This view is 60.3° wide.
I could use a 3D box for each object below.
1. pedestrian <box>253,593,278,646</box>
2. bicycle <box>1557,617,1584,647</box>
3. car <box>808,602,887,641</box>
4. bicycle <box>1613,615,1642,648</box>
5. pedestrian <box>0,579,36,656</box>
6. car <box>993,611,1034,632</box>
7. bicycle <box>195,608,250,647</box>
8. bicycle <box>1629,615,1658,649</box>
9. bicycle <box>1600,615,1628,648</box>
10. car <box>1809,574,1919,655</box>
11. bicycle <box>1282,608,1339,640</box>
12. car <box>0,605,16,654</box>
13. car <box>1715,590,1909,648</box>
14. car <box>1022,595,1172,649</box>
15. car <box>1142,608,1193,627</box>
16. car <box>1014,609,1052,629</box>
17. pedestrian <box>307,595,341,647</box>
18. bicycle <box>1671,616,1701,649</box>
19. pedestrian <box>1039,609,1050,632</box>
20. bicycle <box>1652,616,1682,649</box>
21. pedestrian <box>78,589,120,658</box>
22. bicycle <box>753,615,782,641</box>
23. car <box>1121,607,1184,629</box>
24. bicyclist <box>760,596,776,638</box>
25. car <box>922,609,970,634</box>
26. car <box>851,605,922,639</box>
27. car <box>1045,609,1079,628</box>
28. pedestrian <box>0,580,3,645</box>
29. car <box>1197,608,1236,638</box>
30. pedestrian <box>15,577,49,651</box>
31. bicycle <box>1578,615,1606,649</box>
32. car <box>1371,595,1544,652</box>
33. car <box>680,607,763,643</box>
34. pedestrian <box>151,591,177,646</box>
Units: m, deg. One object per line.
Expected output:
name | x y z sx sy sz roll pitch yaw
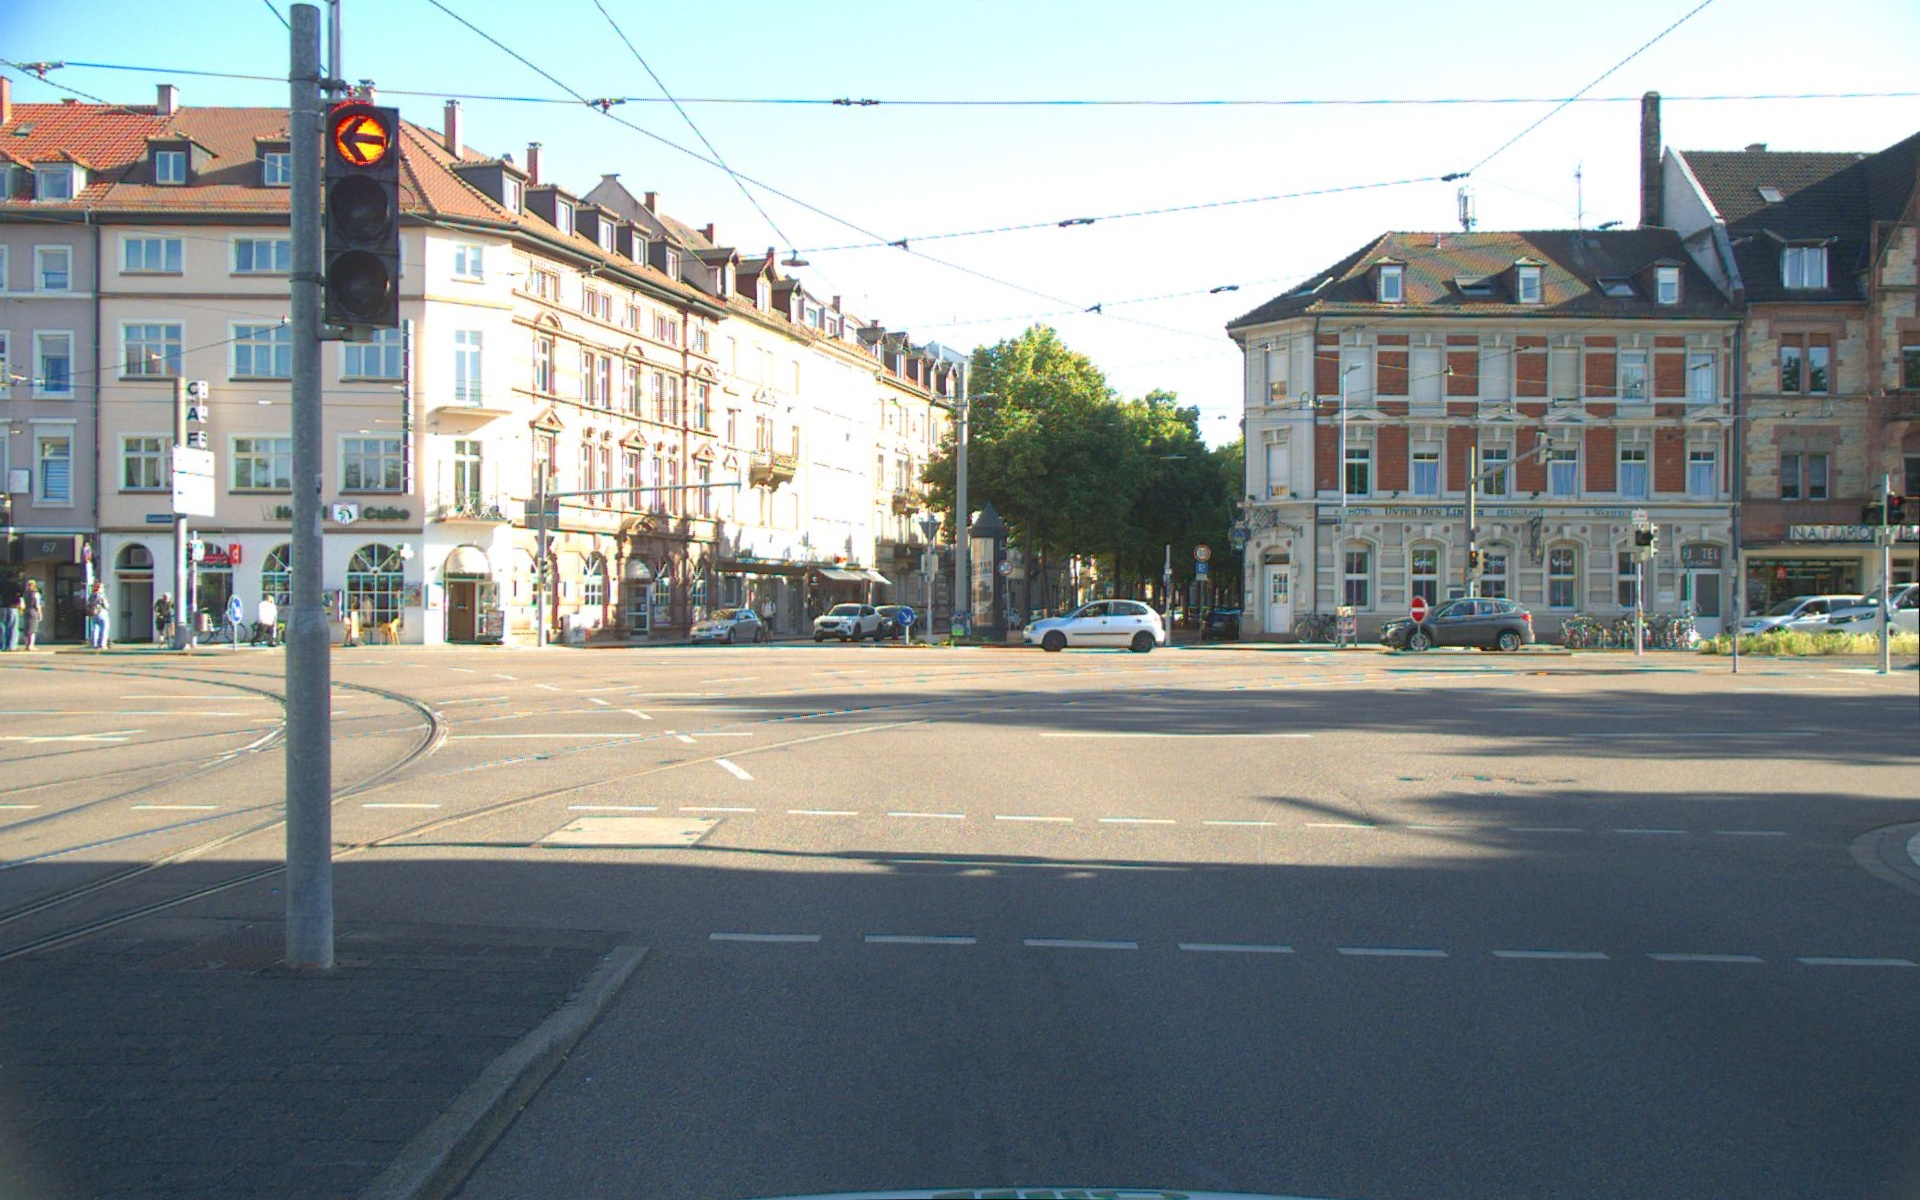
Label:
pedestrian | -22.503 0.631 53.610 0.731 1.711 0.623 0 0 -26
bicycle | 19.800 1.020 53.670 0.476 0.930 1.785 0 0 9
car | -4.536 0.848 67.402 1.951 1.542 4.172 0 0 15
bicycle | 21.608 1.014 53.570 0.476 1.038 1.785 0 0 9
pedestrian | -22.928 0.415 40.014 0.751 1.861 0.722 0 0 -1
car | 3.805 1.482 116.910 1.951 1.429 4.172 0 0 15
bicycle | -25.080 0.924 56.263 1.684 1.299 0.385 0 0 -18
bicycle | 22.107 1.022 53.498 0.476 1.038 1.785 0 0 9
bicycle | 21.159 1.006 53.502 0.476 1.038 1.785 0 0 9
car | 24.893 0.359 42.780 4.879 2.049 2.000 0 0 -1
bicycle | 12.172 0.831 57.530 1.911 1.072 0.716 0 0 9
car | -32.137 0.901 52.167 3.651 1.517 1.818 1 0 2
car | 25.104 0.541 48.825 4.758 1.682 1.999 0 0 -3
car | 3.728 0.589 45.370 3.946 1.448 1.885 0 0 -1
car | 14.035 1.150 111.678 3.360 1.261 1.578 0 0 10
car | 5.463 1.376 122.656 1.951 1.429 4.172 0 0 15
pedestrian | -21.107 0.704 54.925 0.891 1.711 0.742 0 0 -7
bicycle | 23.586 1.049 53.760 0.476 1.038 1.785 0 0 9
pedestrian | 5.027 1.215 98.580 0.535 1.409 0.626 0 0 15
bicycle | 22.901 1.036 53.578 0.476 1.038 1.785 0 0 9
pedestrian | -21.460 0.573 41.236 0.725 1.711 0.628 0 0 -1
bicycle | -7.561 1.099 65.181 0.641 1.018 1.666 1 0 11
car | 12.307 1.140 105.579 3.902 1.311 1.696 0 0 10
bicyclist | -7.552 0.654 65.082 0.479 1.629 0.667 0 0 9
car | -0.828 1.316 102.071 1.951 1.429 4.172 0 0 15
car | -3.232 0.953 73.594 1.951 1.429 4.172 0 0 15
car | 8.130 1.431 131.524 1.951 1.429 4.172 0 0 15
pedestrian | -24.298 0.317 41.138 0.685 1.609 0.559 0 0 -6
car | 12.846 1.143 82.722 1.717 1.445 4.003 0 0 12
pedestrian | -23.015 0.338 41.032 0.549 1.817 0.559 0 0 -6
bicycle | 20.470 1.027 53.593 0.476 1.038 1.785 0 0 9
car | 14.591 0.666 48.645 4.488 1.644 1.999 0 0 -3
car | -9.605 0.986 66.895 1.951 1.385 3.821 0 0 15
pedestrian | -24.956 0.584 51.847 0.731 1.711 0.623 0 0 -26
